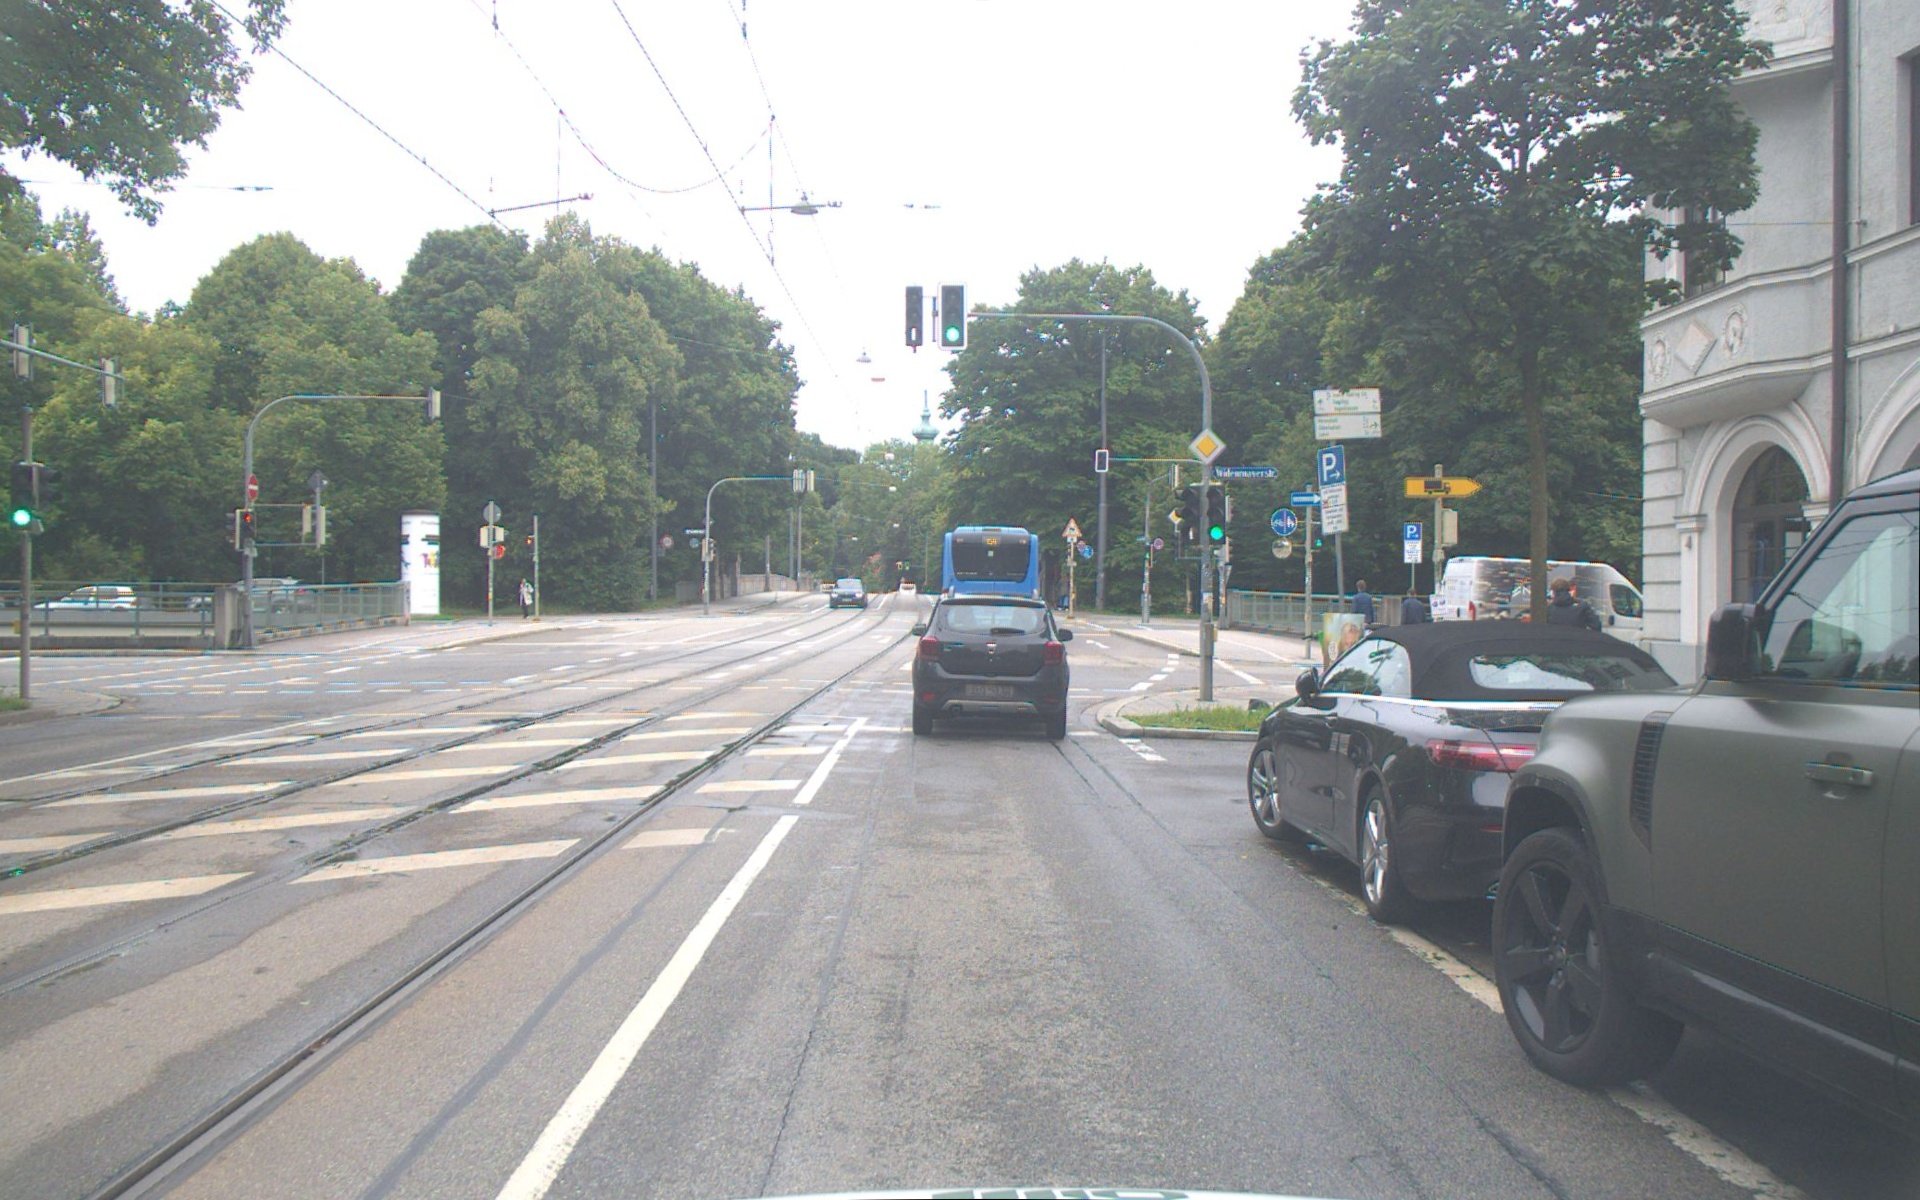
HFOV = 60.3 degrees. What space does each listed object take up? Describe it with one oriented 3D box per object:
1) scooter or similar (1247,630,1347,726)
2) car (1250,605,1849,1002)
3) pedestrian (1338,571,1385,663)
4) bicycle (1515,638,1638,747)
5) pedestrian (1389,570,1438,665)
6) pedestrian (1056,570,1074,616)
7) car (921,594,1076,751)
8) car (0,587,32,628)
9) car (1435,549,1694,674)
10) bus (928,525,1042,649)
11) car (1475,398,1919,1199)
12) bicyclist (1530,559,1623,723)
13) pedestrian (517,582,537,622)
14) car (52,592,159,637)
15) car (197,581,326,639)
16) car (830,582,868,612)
[{"bbox_3d":[4.197,0.960,20.581,1.167,1.115,0.590,2,-1,12],"label":"scooter or similar"},{"bbox_3d":[2.875,0.874,9.148,1.679,1.619,4.326,2,0,-1],"label":"car"},{"bbox_3d":[9.111,0.385,37.588,0.813,2.049,0.780,2,-1,-1],"label":"pedestrian"},{"bbox_3d":[6.809,0.991,18.360,0.567,1.097,1.911,-2,0,-2],"label":"bicycle"},{"bbox_3d":[10.078,0.385,36.811,0.813,2.049,0.780,2,-1,-1],"label":"pedestrian"},{"bbox_3d":[4.996,-0.342,78.714,0.747,2.153,0.853,2,-1,-1],"label":"pedestrian"},{"bbox_3d":[0.361,0.773,19.034,1.568,1.584,3.524,2,0,-1],"label":"car"},{"bbox_3d":[-35.509,0.193,58.904,3.848,1.429,1.719,2,-1,-5],"label":"car"},{"bbox_3d":[14.090,0.265,38.726,5.191,2.658,2.229,2,-1,-4],"label":"car"},{"bbox_3d":[0.579,-0.315,45.675,2.625,3.050,6.957,2,0,-3],"label":"bus"},{"bbox_3d":[2.939,0.574,3.606,1.876,1.939,4.805,2,0,-3],"label":"car"},{"bbox_3d":[6.818,0.447,18.316,0.709,1.759,0.726,2,-1,-2],"label":"bicyclist"},{"bbox_3d":[-16.856,0.089,64.384,0.520,1.527,0.588,2,-1,4],"label":"pedestrian"},{"bbox_3d":[-30.410,0.507,58.909,3.050,1.477,1.249,2,-1,-6],"label":"car"},{"bbox_3d":[-25.255,0.363,59.896,3.946,1.920,1.488,2,-1,-8],"label":"car"},{"bbox_3d":[-5.558,-0.150,82.872,1.752,1.394,3.398,2,0,-2],"label":"car"}]
